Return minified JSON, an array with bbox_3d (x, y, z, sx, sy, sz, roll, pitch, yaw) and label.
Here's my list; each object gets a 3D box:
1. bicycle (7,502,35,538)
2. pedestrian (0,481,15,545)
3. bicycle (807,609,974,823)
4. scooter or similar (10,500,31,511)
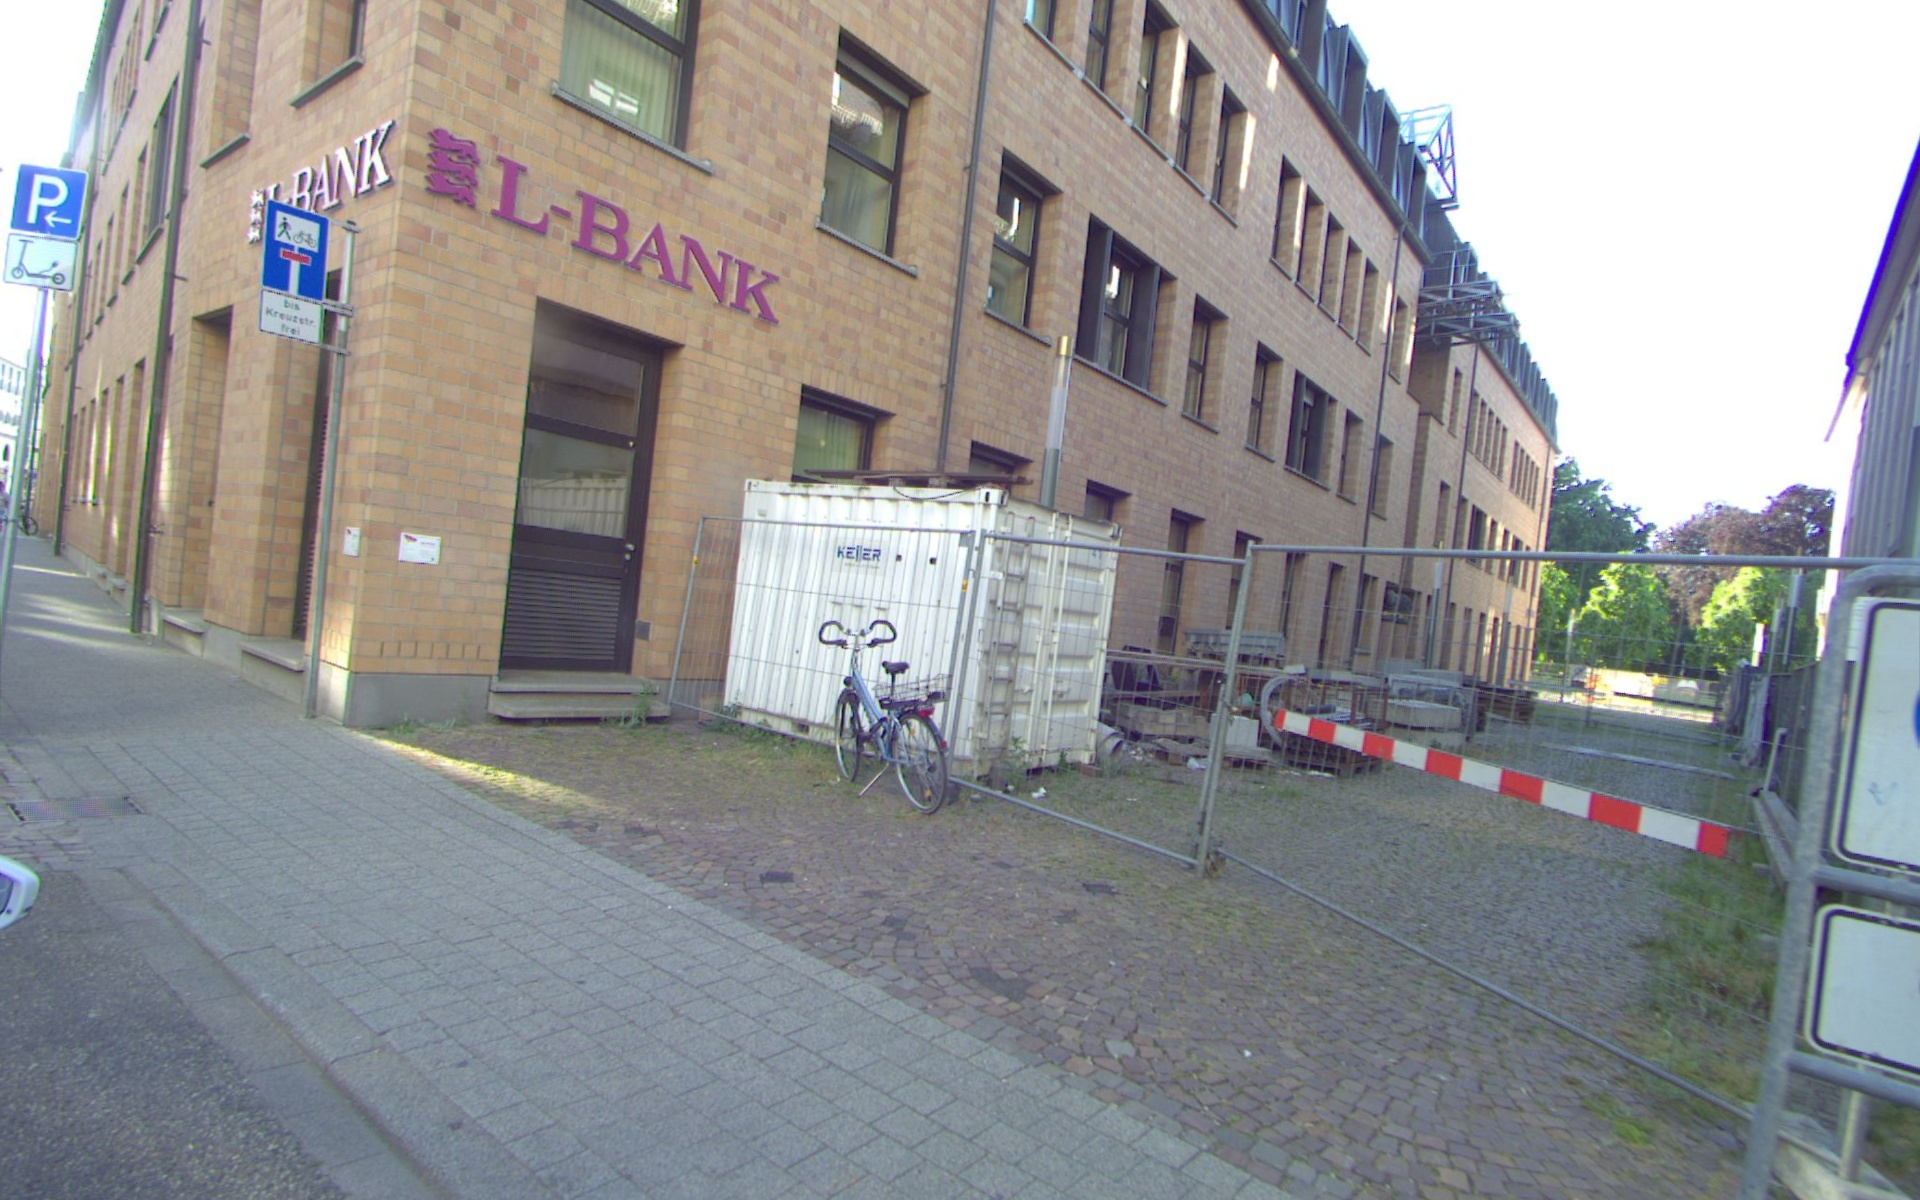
[{"bbox_3d":[-31.134,-2.657,33.335,1.955,1.119,0.548,7,4,43],"label":"bicycle"},{"bbox_3d":[-27.106,-2.474,28.251,0.757,1.739,0.811,3,3,-45],"label":"pedestrian"},{"bbox_3d":[-0.541,0.761,7.153,0.317,1.265,1.568,6,1,-34],"label":"bicycle"},{"bbox_3d":[-103.248,-10.330,110.534,0.518,0.939,2.223,7,-1,-11],"label":"scooter or similar"}]
